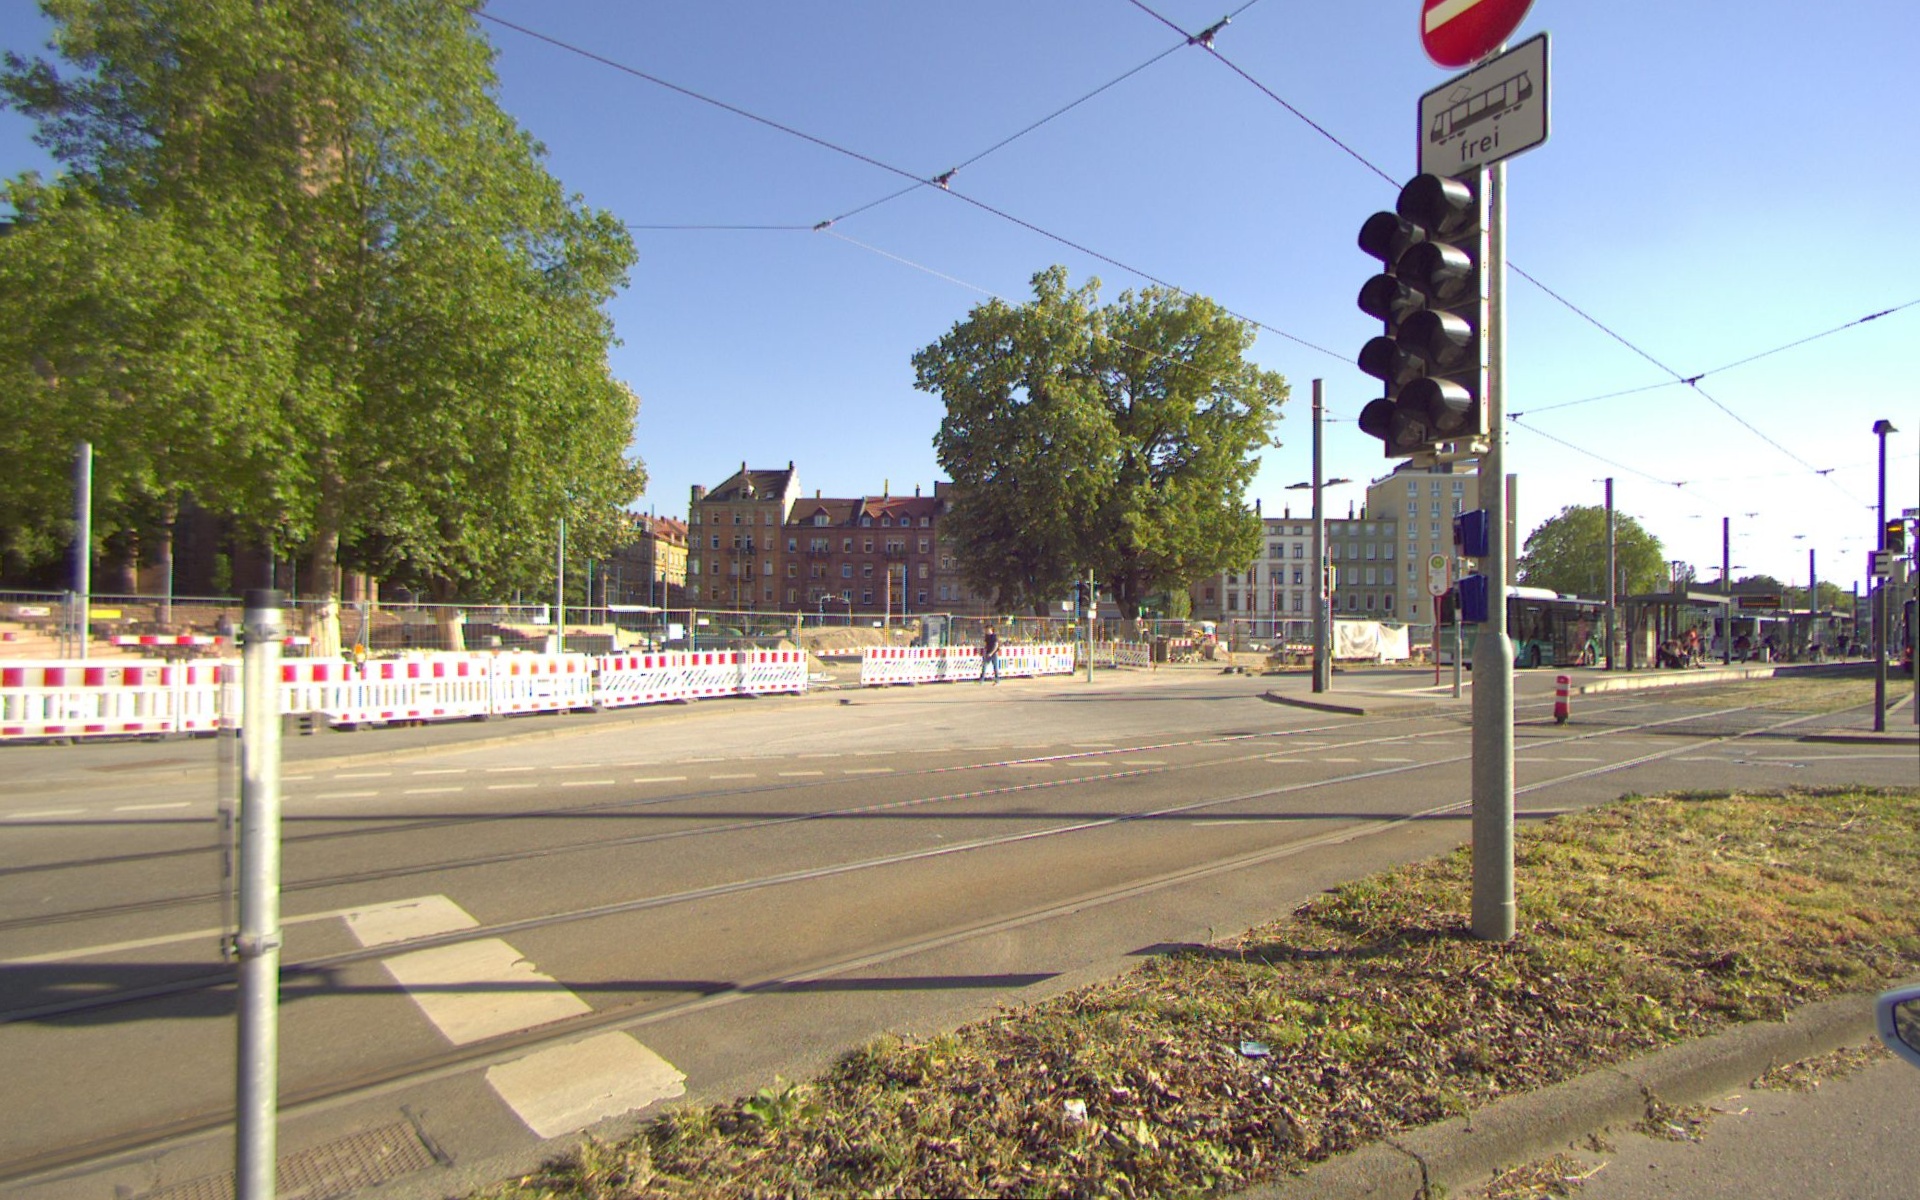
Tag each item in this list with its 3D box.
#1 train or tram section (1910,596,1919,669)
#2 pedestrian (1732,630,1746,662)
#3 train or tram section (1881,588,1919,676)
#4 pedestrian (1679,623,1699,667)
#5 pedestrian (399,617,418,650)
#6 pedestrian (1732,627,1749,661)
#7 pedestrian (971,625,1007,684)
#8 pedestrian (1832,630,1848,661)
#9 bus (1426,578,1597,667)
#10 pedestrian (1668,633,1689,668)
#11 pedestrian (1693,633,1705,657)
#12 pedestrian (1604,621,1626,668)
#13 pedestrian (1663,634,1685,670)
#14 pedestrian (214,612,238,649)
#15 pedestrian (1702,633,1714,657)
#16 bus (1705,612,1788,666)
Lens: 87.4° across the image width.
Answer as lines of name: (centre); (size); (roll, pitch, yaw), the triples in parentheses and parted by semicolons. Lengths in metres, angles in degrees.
train or tram section: (53.893, 1.819, 53.782); (12.100, 3.644, 2.987); (2, 0, -40)
pedestrian: (44.741, 2.636, 57.686); (0.564, 1.772, 0.636); (-1, -2, 41)
train or tram section: (44.756, 1.492, 45.828); (12.108, 3.644, 2.855); (2, 0, -42)
pedestrian: (29.562, 1.812, 40.729); (0.564, 1.772, 0.636); (-1, -2, 43)
pedestrian: (-27.724, 1.675, 50.509); (0.751, 1.669, 0.671); (1, -1, -26)
pedestrian: (41.012, 2.283, 52.767); (0.629, 1.772, 0.570); (-1, -2, 34)
pedestrian: (0.863, 1.622, 29.846); (0.699, 1.719, 0.899); (-1, -4, 33)
pedestrian: (50.315, 2.585, 57.431); (0.629, 1.772, 0.570); (-1, -2, 34)
bus: (22.001, 0.900, 39.751); (9.564, 3.177, 2.631); (2, 0, -40)
pedestrian: (28.183, 1.983, 39.409); (0.564, 1.363, 0.636); (-1, -2, 43)
pedestrian: (55.948, 3.390, 76.048); (0.567, 1.772, 0.633); (2, -2, -36)
pedestrian: (25.072, 1.699, 38.474); (0.554, 1.772, 0.534); (2, -2, -35)
pedestrian: (27.674, 2.019, 38.934); (0.609, 1.358, 0.438); (-1, -2, 44)
pedestrian: (-33.418, 1.398, 45.717); (0.665, 1.669, 0.635); (1, -1, -18)
pedestrian: (56.124, 3.396, 75.382); (0.568, 1.772, 0.632); (2, -2, -41)
bus: (53.962, 2.632, 68.750); (13.376, 3.317, 2.694); (2, 0, -44)
